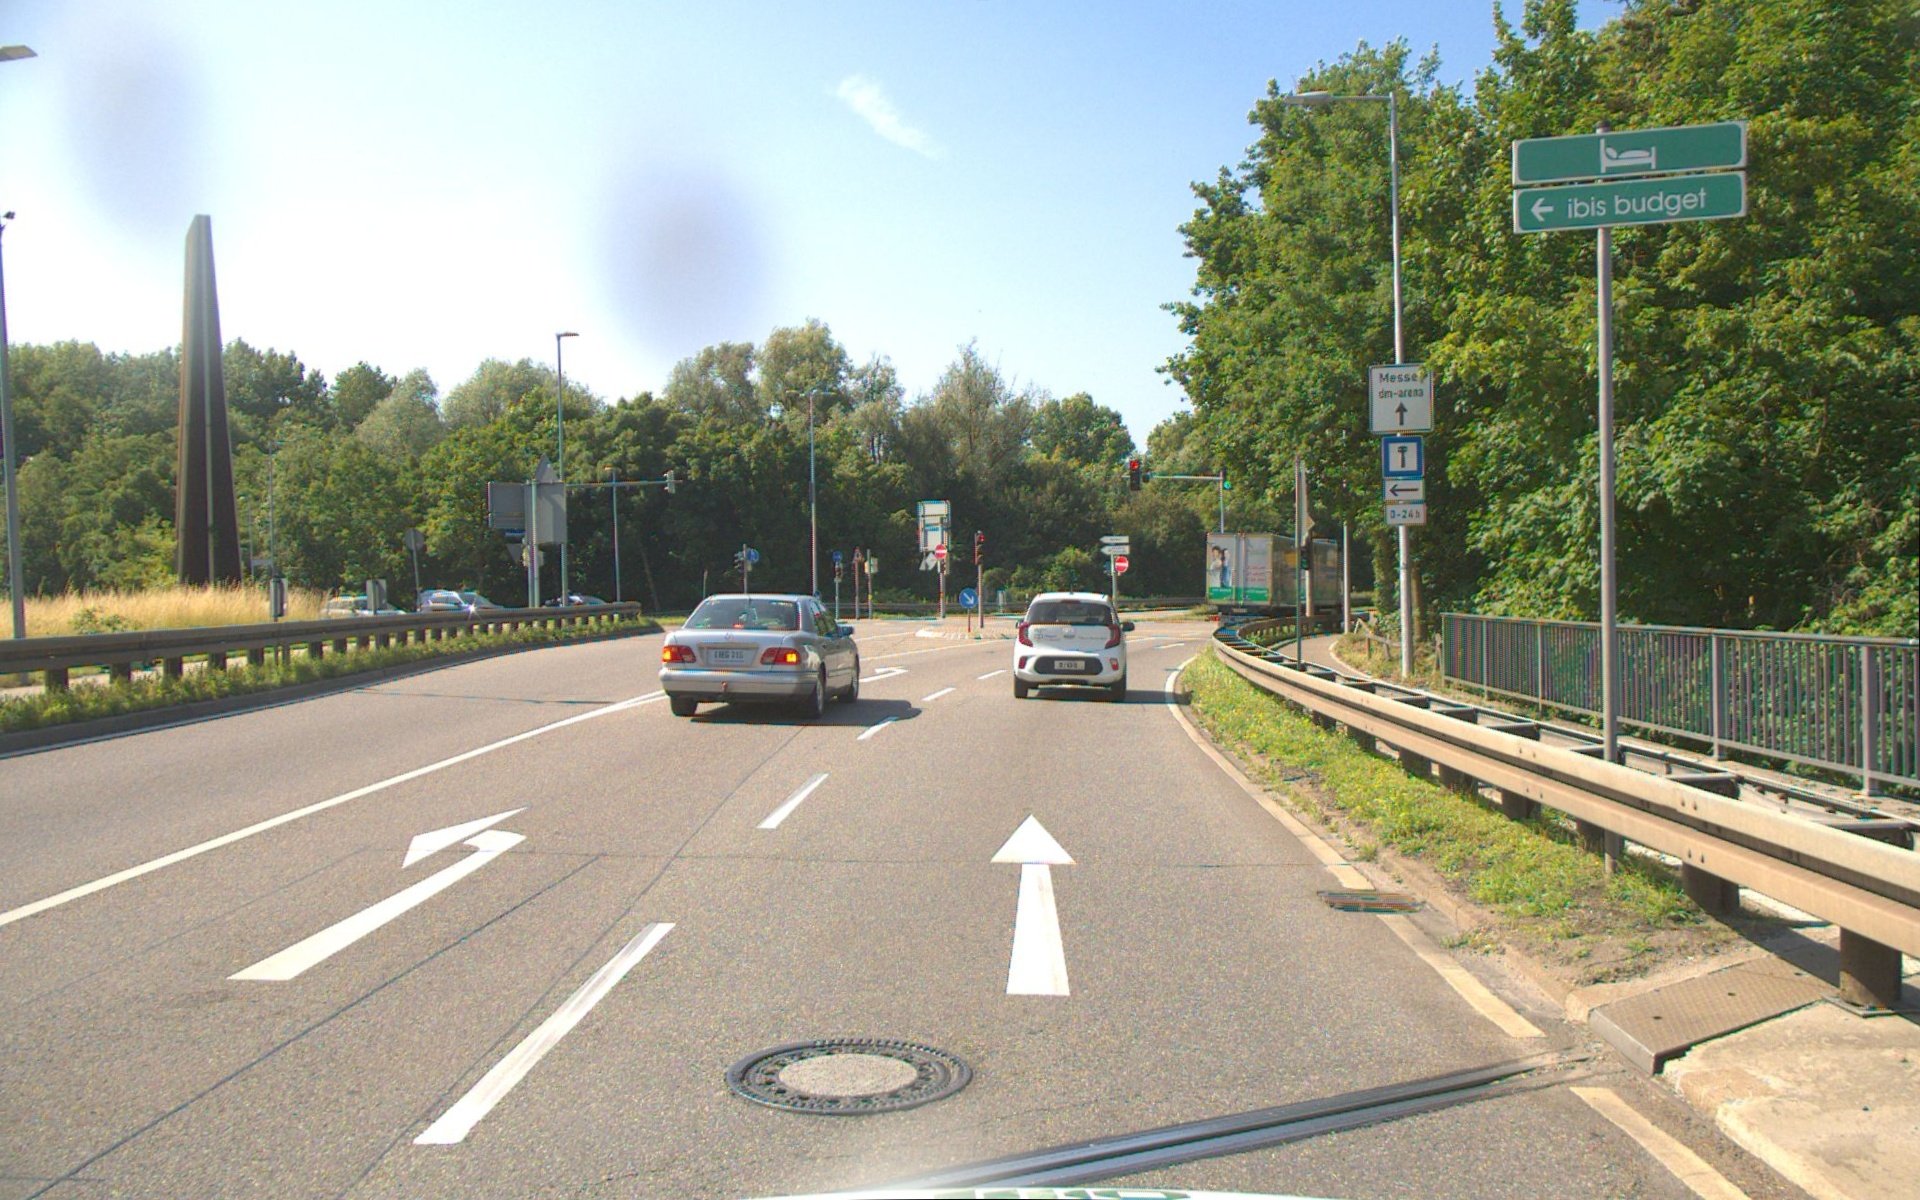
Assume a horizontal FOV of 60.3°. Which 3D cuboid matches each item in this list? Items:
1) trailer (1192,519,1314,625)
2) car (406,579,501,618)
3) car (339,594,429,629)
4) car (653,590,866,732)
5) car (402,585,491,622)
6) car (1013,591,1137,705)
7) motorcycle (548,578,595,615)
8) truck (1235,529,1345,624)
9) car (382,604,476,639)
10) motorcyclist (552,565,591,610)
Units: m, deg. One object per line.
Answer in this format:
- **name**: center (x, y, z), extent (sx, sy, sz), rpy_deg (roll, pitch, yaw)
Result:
- **trailer**: center (11.677, -1.024, 65.297), extent (3.159, 3.823, 7.824), rpy_deg (3, 0, 21)
- **car**: center (-21.360, -0.038, 69.718), extent (3.915, 1.413, 1.697), rpy_deg (-4, -4, 32)
- **car**: center (-27.535, 0.585, 79.054), extent (3.915, 1.413, 2.118), rpy_deg (-4, -4, 32)
- **car**: center (-2.317, 0.645, 20.395), extent (1.899, 1.512, 4.901), rpy_deg (1, 0, 1)
- **car**: center (-23.407, 0.166, 75.341), extent (3.915, 1.413, 1.763), rpy_deg (-4, -4, 32)
- **car**: center (1.668, 0.662, 24.788), extent (1.666, 1.520, 4.001), rpy_deg (1, 0, 2)
- **motorcycle**: center (-17.152, -0.152, 73.017), extent (1.939, 1.556, 0.897), rpy_deg (-3, -2, 30)
- **truck**: center (14.656, -0.972, 72.827), extent (3.194, 3.823, 8.370), rpy_deg (3, 1, 21)
- **car**: center (-24.389, 1.017, 75.988), extent (3.915, 1.413, 2.118), rpy_deg (-4, -4, 32)
- **motorcyclist**: center (-17.164, -0.540, 73.042), extent (1.432, 1.903, 0.891), rpy_deg (-3, -3, 30)
